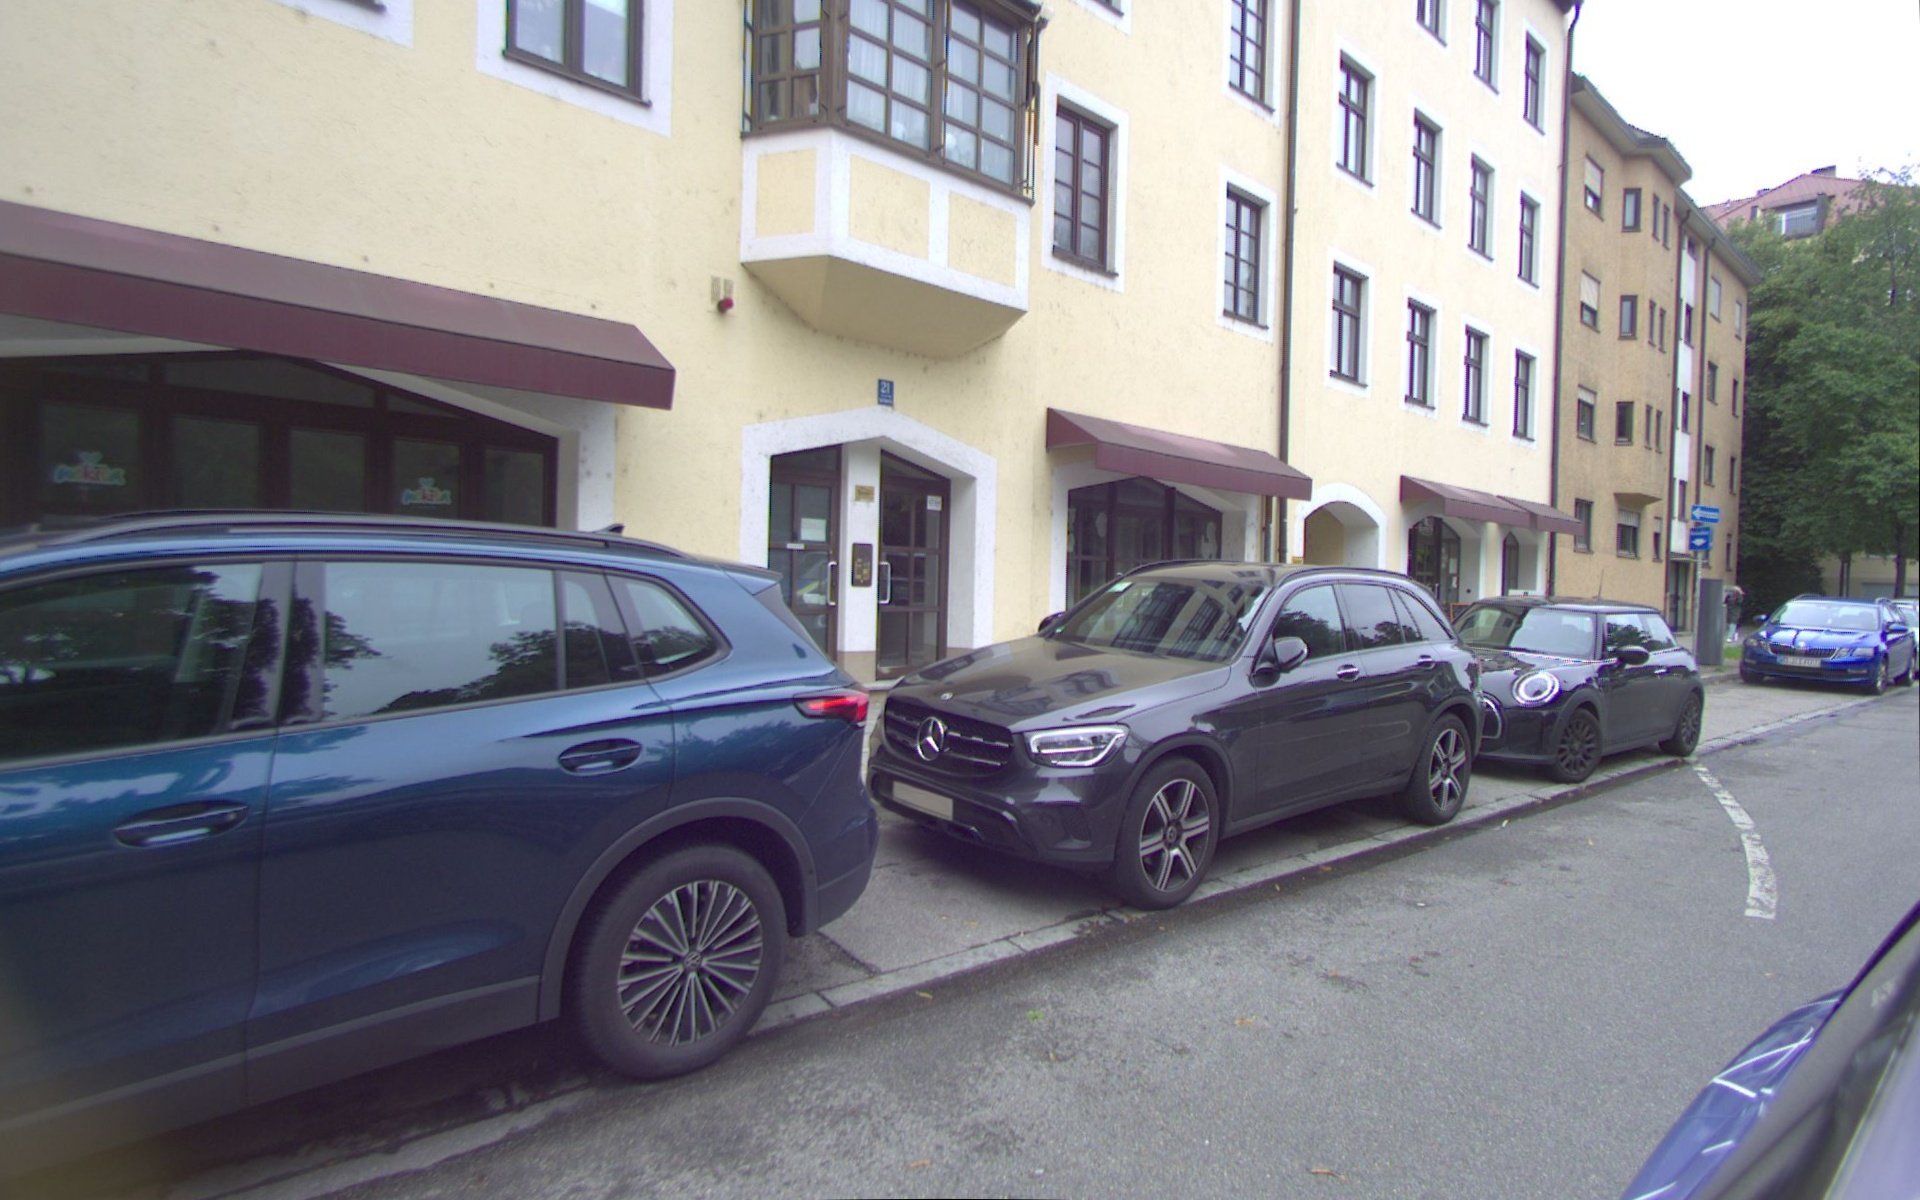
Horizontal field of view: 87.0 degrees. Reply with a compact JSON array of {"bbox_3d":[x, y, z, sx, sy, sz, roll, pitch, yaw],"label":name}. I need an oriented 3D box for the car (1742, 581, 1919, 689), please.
[{"bbox_3d":[14.869,0.503,16.973,4.406,1.514,1.761,0,3,-39],"label":"car"}]

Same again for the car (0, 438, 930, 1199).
[{"bbox_3d":[-2.377,0.488,2.706,4.432,1.700,1.822,0,3,-42],"label":"car"}]

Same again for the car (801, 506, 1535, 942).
[{"bbox_3d":[1.522,0.438,6.082,4.622,1.700,1.761,0,3,-39],"label":"car"}]

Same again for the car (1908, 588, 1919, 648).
[{"bbox_3d":[26.253,0.507,26.421,3.752,1.514,1.632,0,3,-39],"label":"car"}]

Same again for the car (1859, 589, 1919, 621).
[{"bbox_3d":[46.546,0.239,50.586,4.174,1.485,2.050,0,2,-44],"label":"car"}]

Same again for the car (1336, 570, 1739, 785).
[{"bbox_3d":[5.322,0.549,9.191,3.751,1.514,1.762,0,3,-36],"label":"car"}]

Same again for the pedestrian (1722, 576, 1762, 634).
[{"bbox_3d":[22.760,0.139,29.461,0.962,1.644,0.672,-1,2,-38],"label":"pedestrian"}]

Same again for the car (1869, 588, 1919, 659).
[{"bbox_3d":[22.512,0.535,23.382,3.718,1.514,1.632,0,3,-39],"label":"car"}]

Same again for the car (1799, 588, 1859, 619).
[{"bbox_3d":[44.812,0.166,52.152,4.174,1.485,1.914,0,2,-44],"label":"car"}]

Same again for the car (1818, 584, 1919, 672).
[{"bbox_3d":[18.701,0.507,20.126,4.355,1.514,1.695,0,3,-40],"label":"car"}]
